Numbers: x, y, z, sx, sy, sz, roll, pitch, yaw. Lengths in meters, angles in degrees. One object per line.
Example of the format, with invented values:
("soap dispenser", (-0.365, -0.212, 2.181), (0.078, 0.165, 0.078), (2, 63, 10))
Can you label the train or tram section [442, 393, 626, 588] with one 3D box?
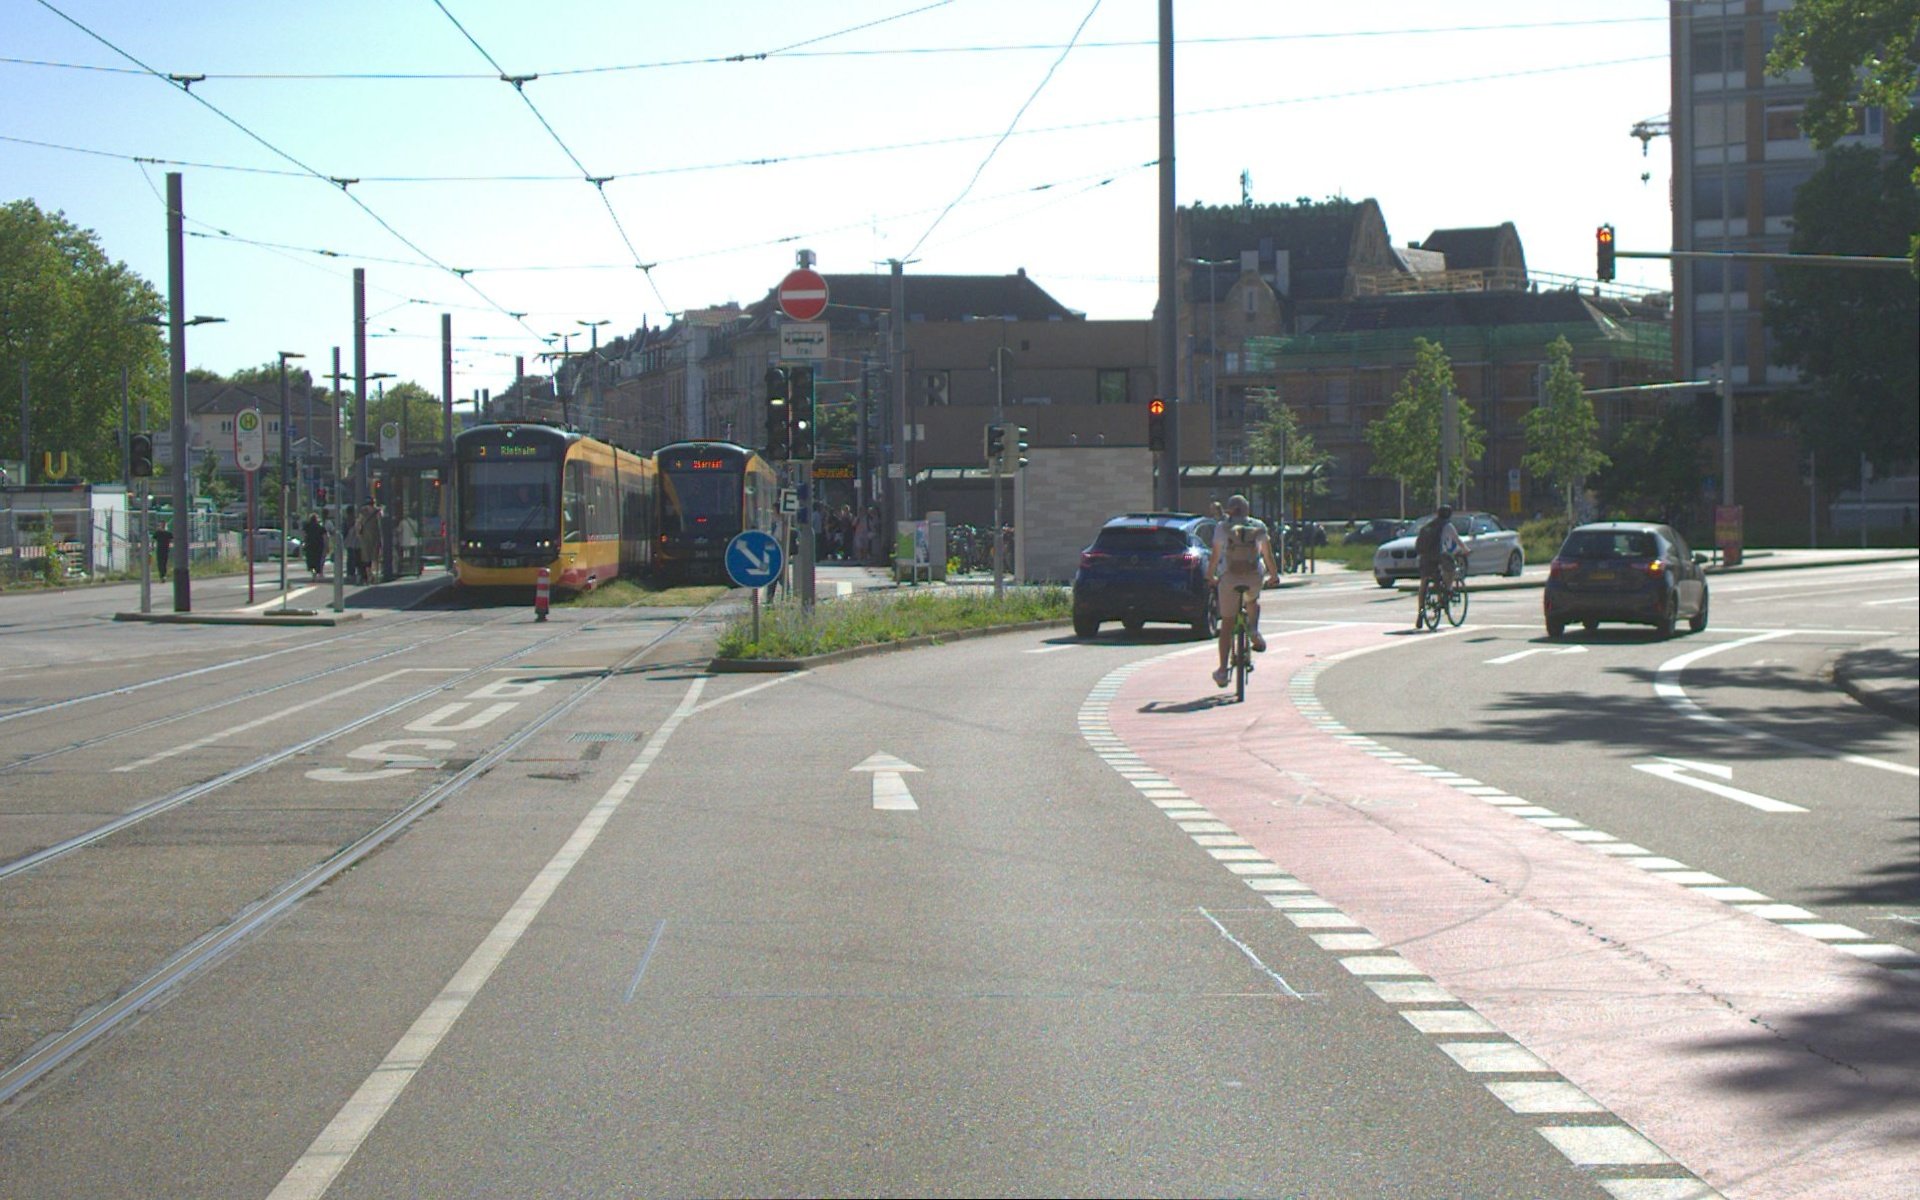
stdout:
("train or tram section", (-8.656, -2.294, 71.431), (2.742, 3.638, 13.788), (-1, 2, -3))

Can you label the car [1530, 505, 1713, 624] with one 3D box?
("car", (8.988, -0.516, 46.498), (1.791, 1.506, 3.709), (1, 2, 21))

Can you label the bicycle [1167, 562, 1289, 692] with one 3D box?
("bicycle", (2.446, 0.229, 31.189), (0.705, 1.101, 1.716), (2, 2, 18))

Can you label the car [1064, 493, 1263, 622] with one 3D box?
("car", (2.713, -0.590, 45.125), (1.790, 1.599, 3.710), (1, 2, 17))

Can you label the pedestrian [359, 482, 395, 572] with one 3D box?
("pedestrian", (-11.888, -1.484, 70.106), (0.626, 1.821, 0.662), (-1, 1, -3))

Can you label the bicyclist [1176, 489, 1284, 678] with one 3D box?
("bicyclist", (2.455, -0.164, 31.182), (0.705, 1.669, 1.100), (2, 2, 18))

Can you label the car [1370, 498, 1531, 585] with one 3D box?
("car", (9.665, -1.166, 67.537), (1.705, 1.638, 3.706), (2, 2, 33))

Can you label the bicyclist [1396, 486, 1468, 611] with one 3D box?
("bicyclist", (6.568, -0.723, 47.816), (0.706, 1.694, 0.986), (2, 3, 23))

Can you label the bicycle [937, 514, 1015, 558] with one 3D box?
("bicycle", (0.403, -1.648, 87.882), (1.933, 1.099, 0.599), (-1, 2, -4))

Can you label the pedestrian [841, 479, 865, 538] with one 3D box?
("pedestrian", (-3.539, -3.030, 114.178), (0.660, 1.946, 0.629), (-1, 1, -14))

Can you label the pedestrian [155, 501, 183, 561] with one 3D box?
("pedestrian", (-22.389, -1.954, 97.301), (0.626, 1.691, 0.662), (-1, 1, -3))

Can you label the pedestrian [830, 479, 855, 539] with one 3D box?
("pedestrian", (-3.830, -2.983, 112.150), (0.660, 1.946, 0.629), (-1, 1, -14))

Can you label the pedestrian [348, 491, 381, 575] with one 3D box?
("pedestrian", (-13.001, -1.467, 75.051), (0.626, 1.821, 0.662), (-1, 1, -3))

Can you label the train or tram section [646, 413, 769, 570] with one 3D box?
("train or tram section", (-6.269, -2.756, 87.098), (2.742, 3.638, 13.788), (-1, 2, -3))

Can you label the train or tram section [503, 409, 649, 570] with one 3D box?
("train or tram section", (-9.317, -2.723, 84.582), (2.742, 3.638, 12.546), (-1, 2, -3))

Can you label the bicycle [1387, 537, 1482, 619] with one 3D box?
("bicycle", (6.641, -0.326, 48.029), (0.706, 1.051, 2.311), (3, 3, 23))

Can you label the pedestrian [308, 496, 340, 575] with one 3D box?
("pedestrian", (-14.768, -1.506, 79.845), (0.626, 1.821, 0.662), (-1, 1, -3))
